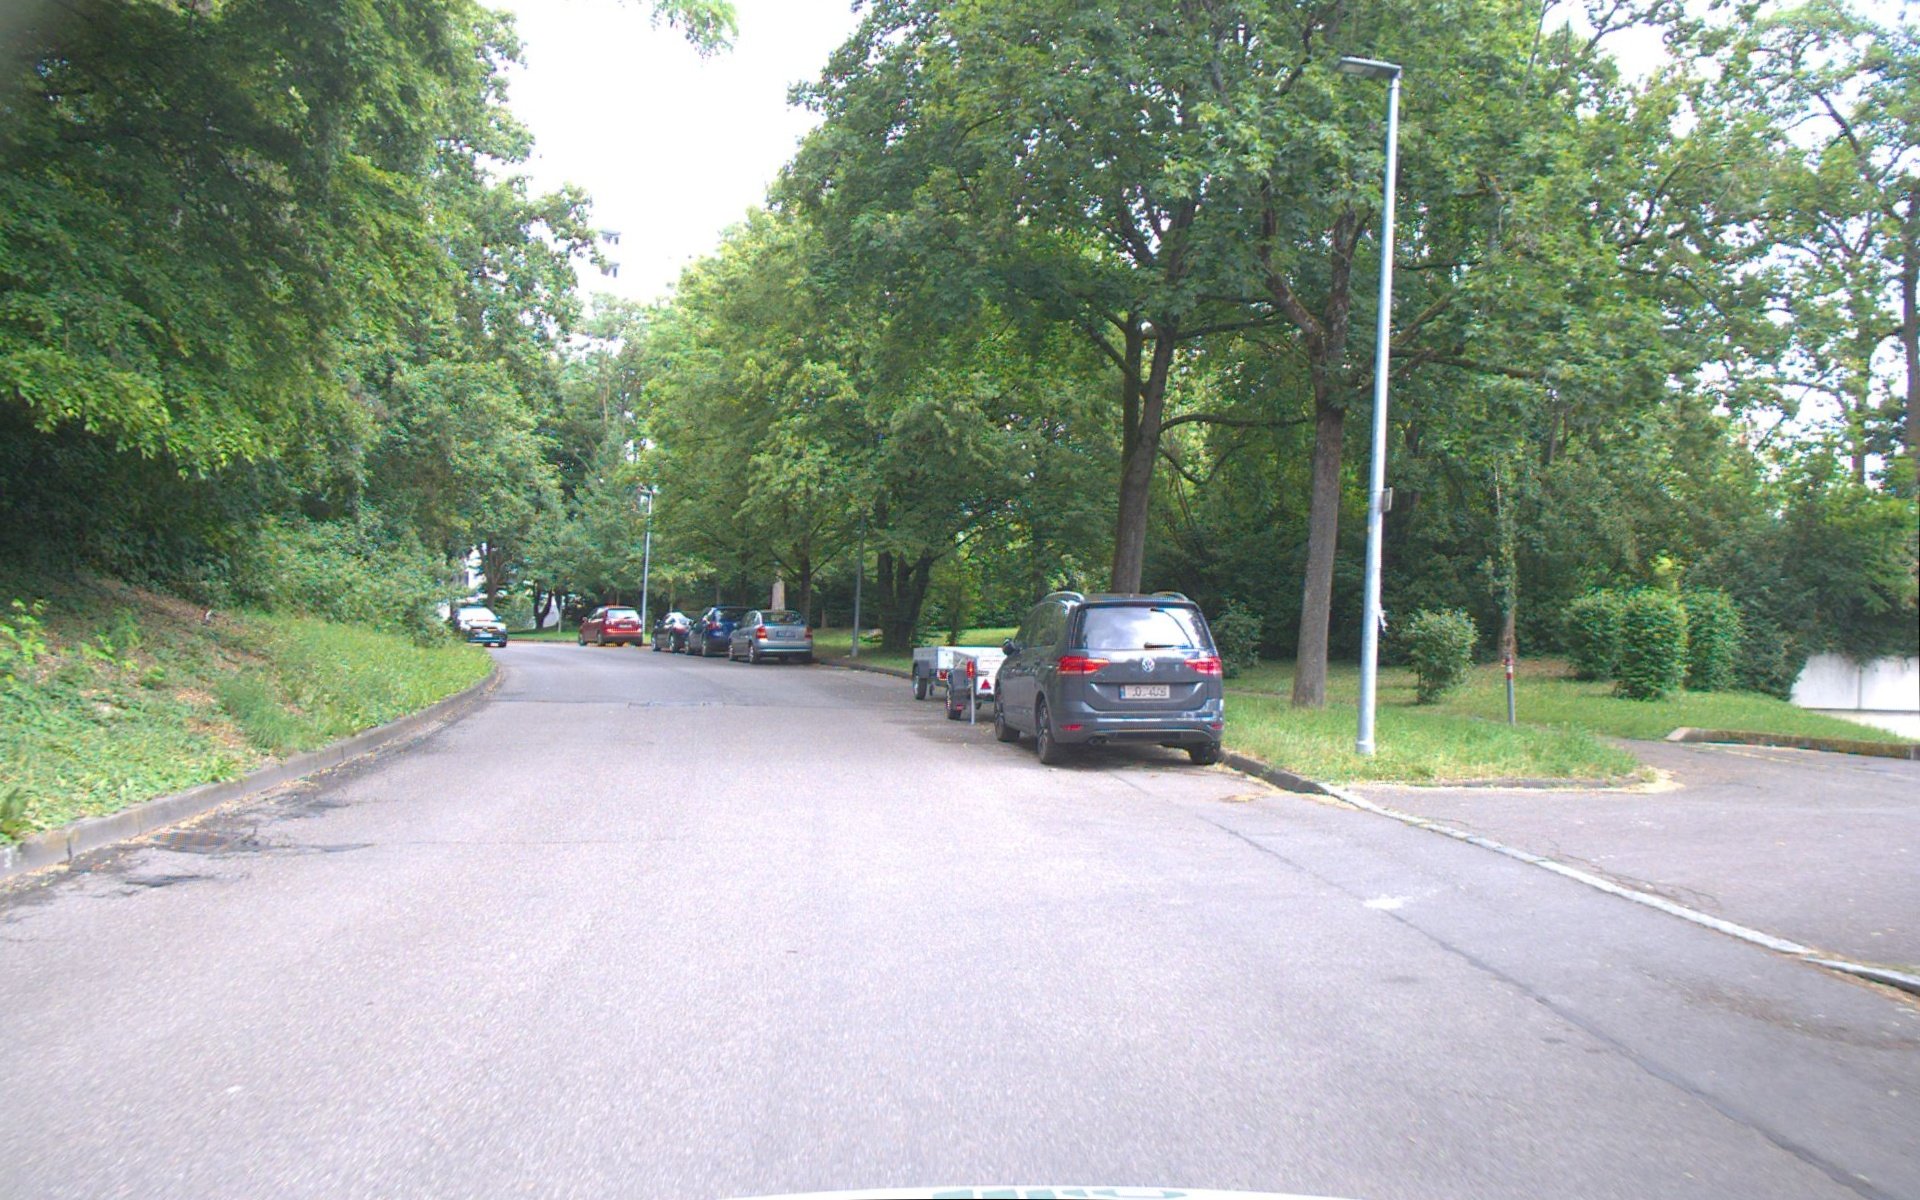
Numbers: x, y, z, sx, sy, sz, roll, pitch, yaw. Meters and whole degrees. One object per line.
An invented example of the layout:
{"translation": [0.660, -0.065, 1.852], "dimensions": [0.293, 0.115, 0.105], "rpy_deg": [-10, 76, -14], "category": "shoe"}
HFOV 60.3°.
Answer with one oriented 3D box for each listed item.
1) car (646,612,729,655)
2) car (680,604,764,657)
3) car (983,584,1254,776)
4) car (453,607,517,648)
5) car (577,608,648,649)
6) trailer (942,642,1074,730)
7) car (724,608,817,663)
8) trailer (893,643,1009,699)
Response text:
{"translation": [-9.273, 1.126, 56.022], "dimensions": [1.727, 1.360, 4.382], "rpy_deg": [2, -1, -24], "category": "car"}
{"translation": [-7.464, 0.966, 51.643], "dimensions": [1.689, 1.536, 4.154], "rpy_deg": [3, -2, -21], "category": "car"}
{"translation": [1.488, 0.761, 17.434], "dimensions": [1.742, 1.691, 4.832], "rpy_deg": [2, -1, -8], "category": "car"}
{"translation": [-17.834, 1.028, 62.011], "dimensions": [1.766, 1.413, 4.460], "rpy_deg": [3, -2, -22], "category": "car"}
{"translation": [-13.834, 1.136, 65.761], "dimensions": [1.719, 1.590, 3.962], "rpy_deg": [1, -1, -28], "category": "car"}
{"translation": [0.607, 1.172, 23.458], "dimensions": [1.331, 0.986, 3.887], "rpy_deg": [2, 0, -6], "category": "trailer"}
{"translation": [-5.243, 0.968, 45.374], "dimensions": [1.692, 1.457, 3.925], "rpy_deg": [0, -1, -20], "category": "car"}
{"translation": [-0.203, 1.187, 28.178], "dimensions": [1.339, 0.862, 3.269], "rpy_deg": [3, -2, -11], "category": "trailer"}
